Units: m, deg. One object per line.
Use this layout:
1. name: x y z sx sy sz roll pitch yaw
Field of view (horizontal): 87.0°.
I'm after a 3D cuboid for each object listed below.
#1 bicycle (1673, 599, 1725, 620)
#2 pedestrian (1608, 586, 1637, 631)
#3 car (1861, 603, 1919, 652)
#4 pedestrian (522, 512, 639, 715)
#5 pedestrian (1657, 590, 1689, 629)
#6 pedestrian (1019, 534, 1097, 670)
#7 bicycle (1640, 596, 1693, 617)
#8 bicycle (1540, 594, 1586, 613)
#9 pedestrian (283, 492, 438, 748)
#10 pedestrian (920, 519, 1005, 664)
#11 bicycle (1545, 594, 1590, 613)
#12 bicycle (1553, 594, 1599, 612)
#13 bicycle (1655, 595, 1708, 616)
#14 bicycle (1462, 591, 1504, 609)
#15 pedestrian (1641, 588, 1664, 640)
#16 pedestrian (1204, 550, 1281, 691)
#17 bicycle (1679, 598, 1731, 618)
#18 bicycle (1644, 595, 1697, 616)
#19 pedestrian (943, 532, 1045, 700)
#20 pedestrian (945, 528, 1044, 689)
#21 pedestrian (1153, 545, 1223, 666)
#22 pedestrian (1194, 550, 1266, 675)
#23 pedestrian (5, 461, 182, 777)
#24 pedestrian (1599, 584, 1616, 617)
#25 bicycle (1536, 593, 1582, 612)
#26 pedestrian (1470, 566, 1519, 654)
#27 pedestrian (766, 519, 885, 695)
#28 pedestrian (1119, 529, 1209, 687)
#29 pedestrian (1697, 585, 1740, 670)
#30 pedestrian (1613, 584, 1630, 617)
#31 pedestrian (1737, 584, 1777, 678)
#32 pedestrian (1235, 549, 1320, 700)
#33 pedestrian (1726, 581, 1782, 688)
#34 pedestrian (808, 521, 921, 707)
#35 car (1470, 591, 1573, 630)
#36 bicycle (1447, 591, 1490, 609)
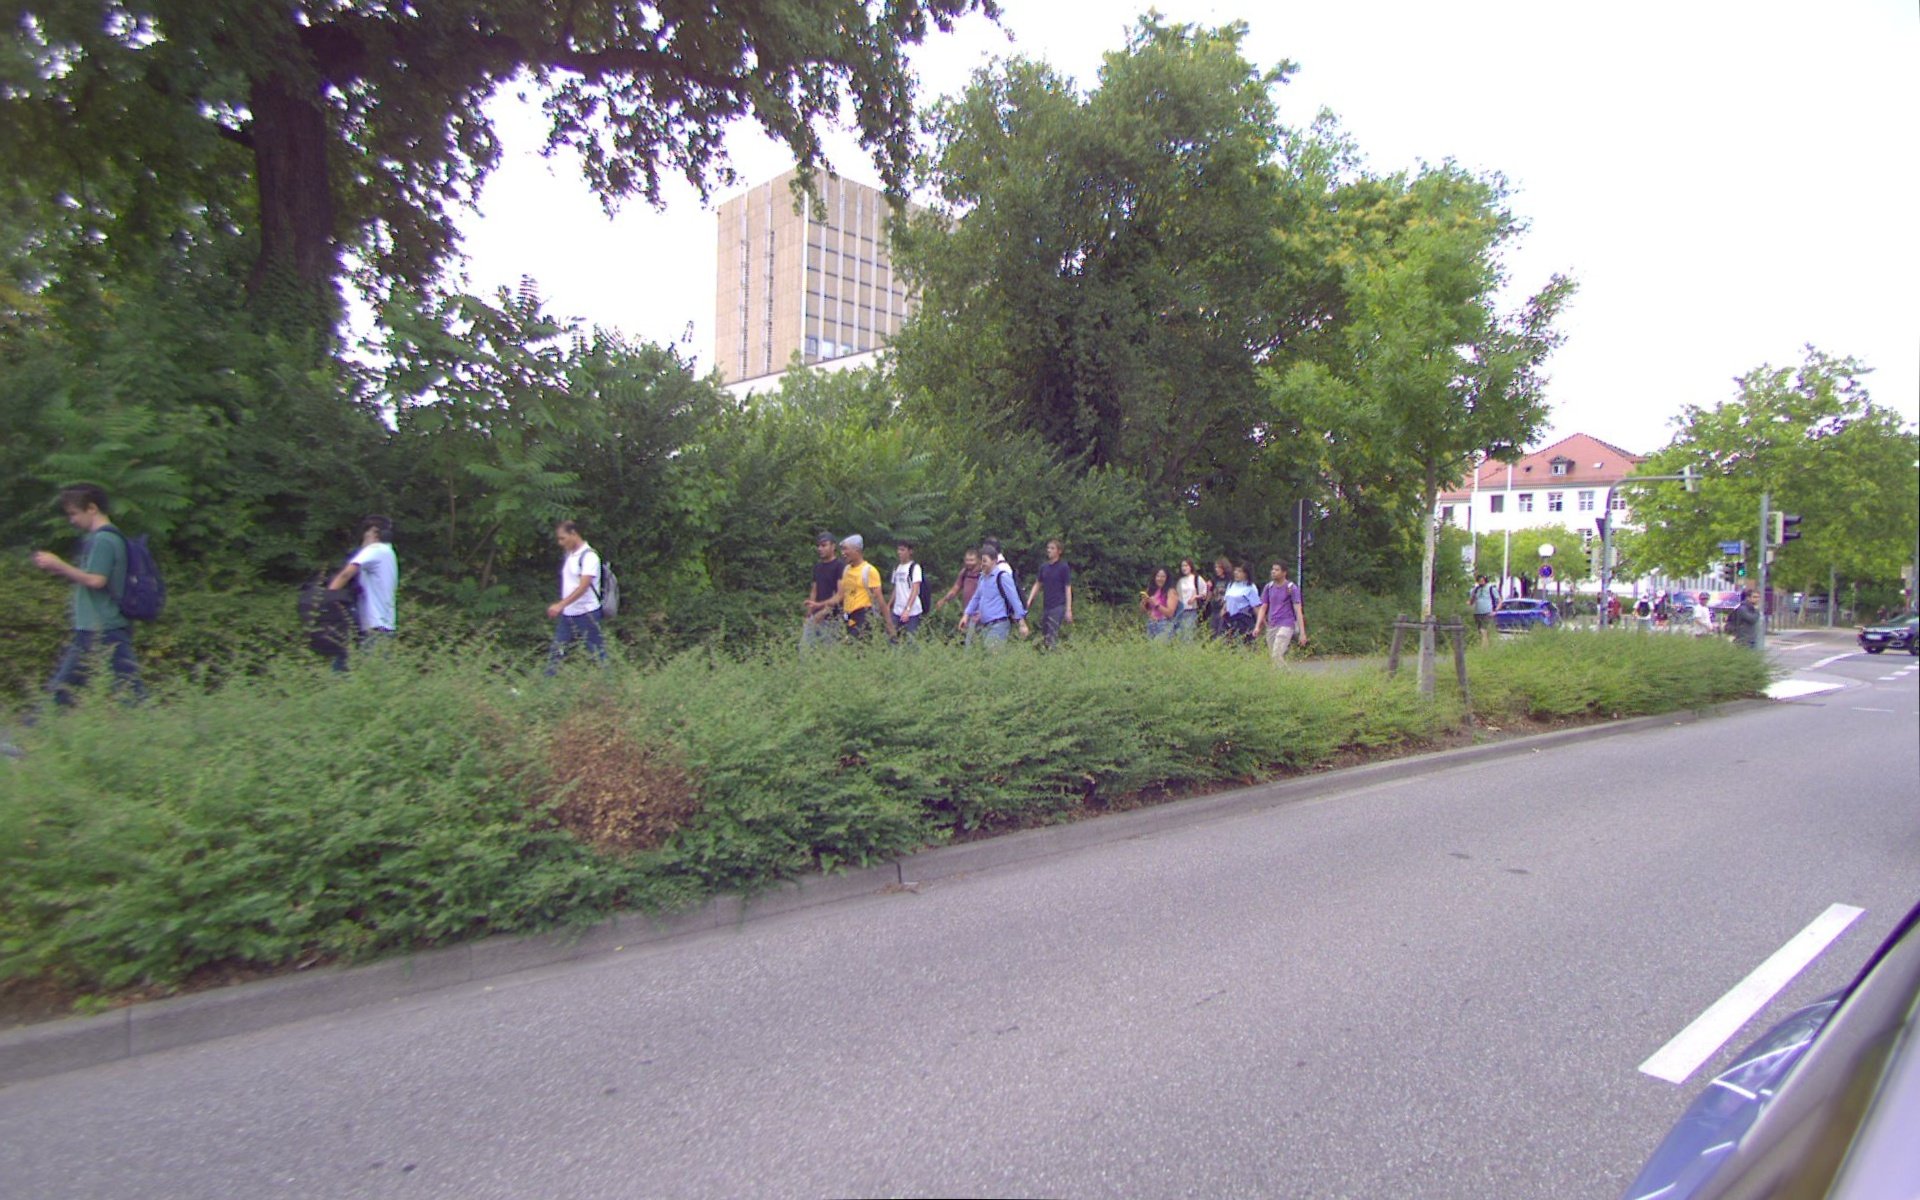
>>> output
1. bicycle: 45.057 0.567 61.706 0.705 1.156 2.471 1 1 -40
2. pedestrian: 27.535 0.341 42.050 0.875 1.827 0.769 1 0 -37
3. car: 32.653 0.897 33.294 4.115 1.576 1.797 0 0 15
4. pedestrian: -3.502 0.109 9.327 0.797 1.766 0.723 1 1 -39
5. pedestrian: 32.597 0.428 46.274 0.687 1.730 0.956 1 0 -23
6. pedestrian: 1.320 0.011 13.646 0.766 1.767 0.658 1 1 -41
7. bicycle: 41.649 0.354 59.691 0.705 1.156 2.471 1 1 -40
8. bicycle: 39.315 0.192 65.969 0.705 1.156 2.471 1 1 -40
9. pedestrian: -4.121 0.115 6.942 0.797 1.622 0.777 1 1 -39
10. pedestrian: 0.036 -0.111 12.490 0.766 1.720 0.658 1 1 -41
11. bicycle: 39.899 0.189 66.490 0.705 1.156 2.471 1 1 -40
12. bicycle: 41.106 0.189 67.550 0.705 1.156 2.471 1 1 -40
13. bicycle: 43.864 0.336 61.550 0.705 1.156 2.471 1 1 -40
14. bicycle: 36.266 -0.028 70.194 0.705 1.156 2.471 1 1 -40
15. pedestrian: 25.397 0.499 37.113 0.643 1.876 0.818 1 0 37
16. pedestrian: 3.696 0.249 13.233 0.776 1.767 0.582 1 1 -41
17. bicycle: 45.922 0.496 62.405 0.705 1.156 2.471 1 1 -40
18. bicycle: 42.583 0.307 60.673 0.705 1.156 2.471 1 1 -40
19. pedestrian: 0.354 0.146 10.546 0.798 1.668 0.658 1 1 -41
20. pedestrian: 0.410 0.085 11.802 0.941 1.788 0.658 1 0 -41
21. pedestrian: 3.441 0.074 15.297 0.766 1.767 0.658 1 1 -41
22. pedestrian: 3.956 0.162 14.844 0.766 1.767 0.658 1 1 -41
23. pedestrian: -5.436 0.102 6.397 0.797 1.844 0.657 1 1 -39
24. pedestrian: 39.536 0.024 61.827 0.675 1.988 0.601 0 0 9
25. bicycle: 38.701 0.157 65.429 0.705 1.156 2.471 1 1 -40
26. pedestrian: 11.212 0.198 21.237 0.727 1.818 0.646 1 1 -41
27. pedestrian: -1.356 0.054 10.243 0.954 1.687 0.658 1 1 -41
28. pedestrian: 2.390 0.080 11.860 0.766 1.767 0.658 1 1 -41
29. pedestrian: 15.708 0.552 20.960 0.626 1.708 0.546 1 1 -41
30. pedestrian: 40.325 0.005 61.709 0.675 1.988 0.601 0 0 9
31. pedestrian: 15.205 0.578 19.314 0.626 1.756 0.455 1 1 -41
32. pedestrian: 3.882 0.280 12.373 0.766 1.767 0.625 1 1 -41
33. pedestrian: 13.549 0.570 17.265 0.643 1.756 0.602 1 1 -41
34. pedestrian: -0.924 0.118 9.786 0.827 1.710 0.658 1 1 -41
35. car: 24.346 0.419 43.941 1.646 1.510 3.577 -1 2 -42
36. bicycle: 34.423 -0.020 68.540 0.705 1.156 2.471 1 1 -40
